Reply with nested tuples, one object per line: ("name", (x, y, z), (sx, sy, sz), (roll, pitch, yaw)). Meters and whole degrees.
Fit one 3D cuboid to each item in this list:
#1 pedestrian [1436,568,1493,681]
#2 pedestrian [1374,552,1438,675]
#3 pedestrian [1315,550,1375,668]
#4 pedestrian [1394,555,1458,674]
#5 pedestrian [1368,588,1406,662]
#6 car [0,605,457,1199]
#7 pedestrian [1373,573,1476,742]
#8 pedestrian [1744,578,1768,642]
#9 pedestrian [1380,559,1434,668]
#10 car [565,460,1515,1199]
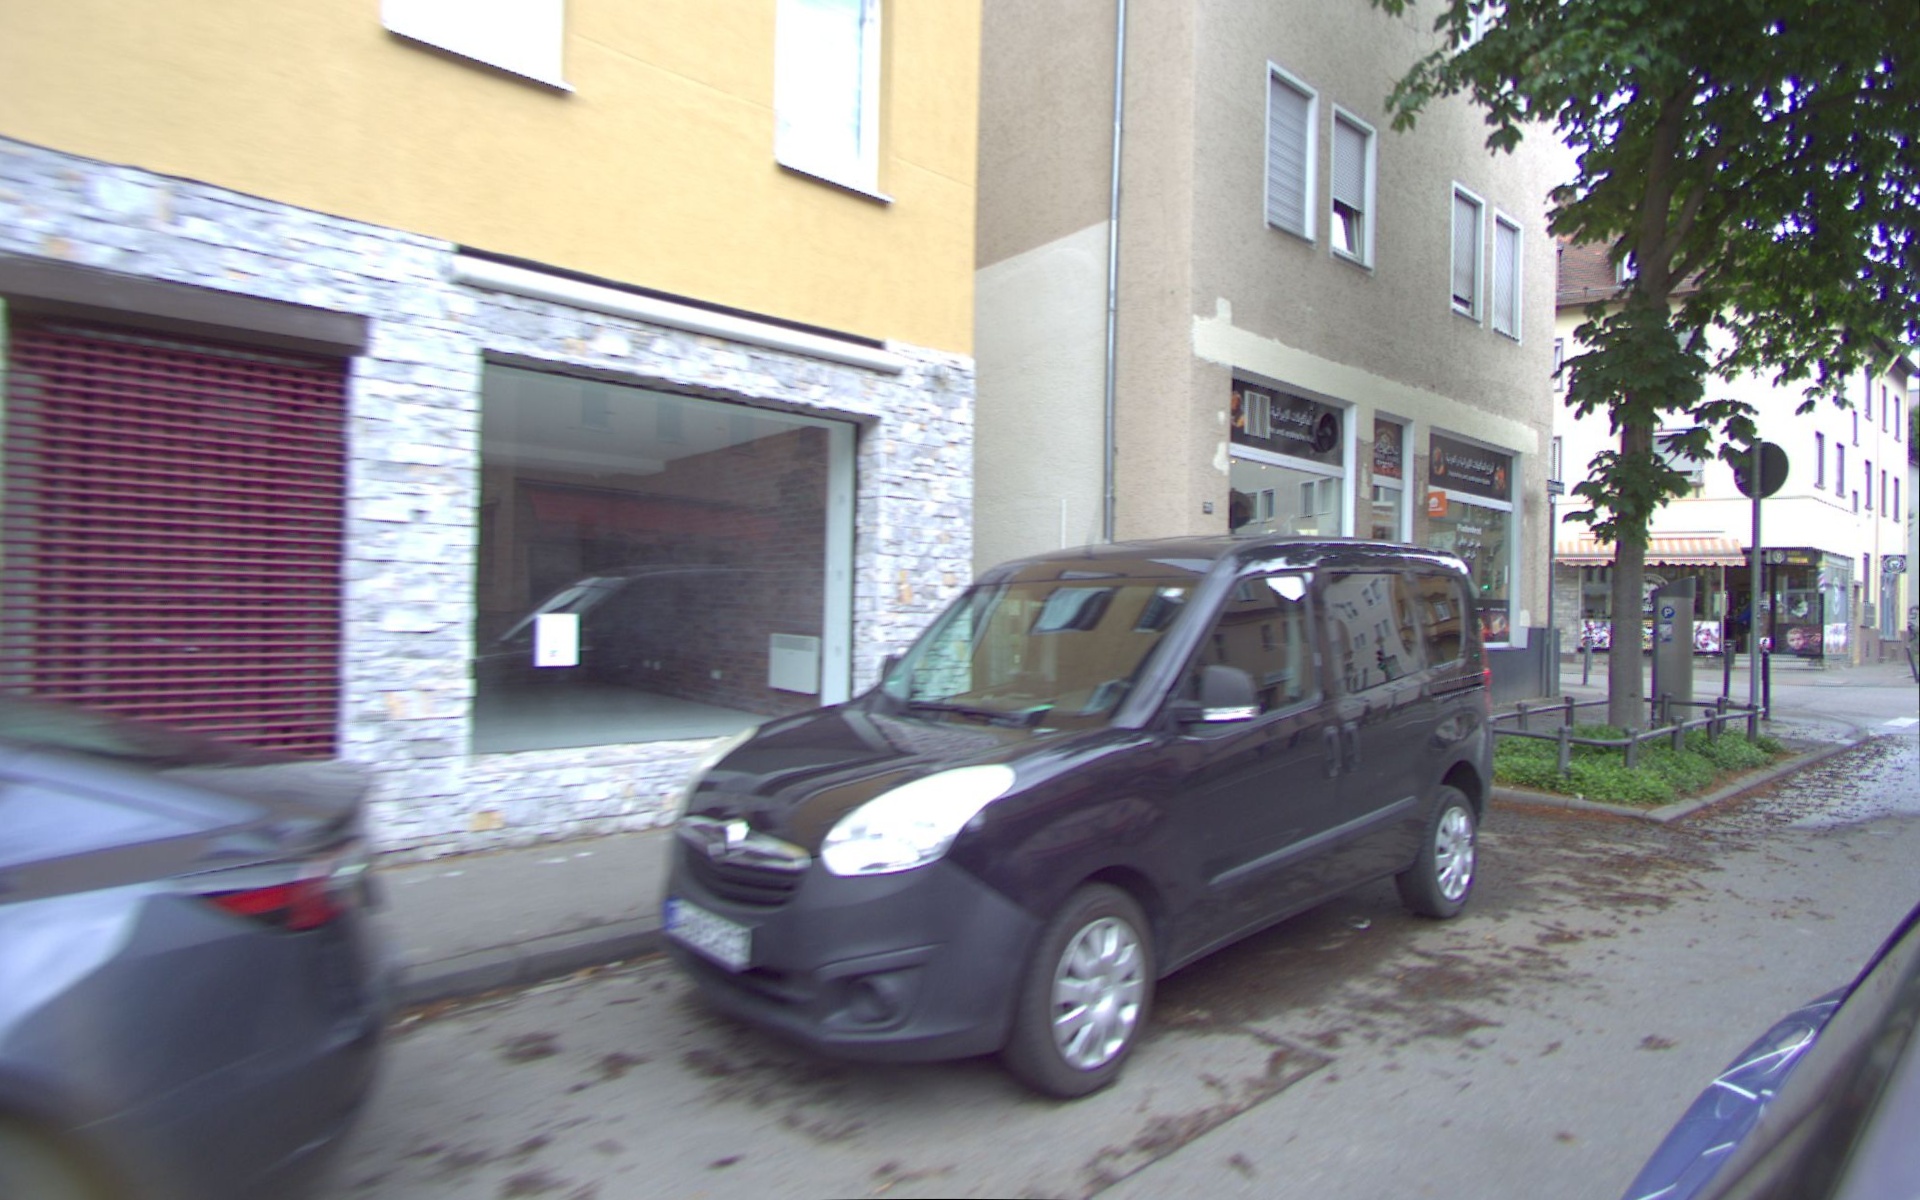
("pedestrian", (7.248, 0.347, 14.543), (0.511, 1.580, 0.568), (0, -1, -40))
("pedestrian", (5.898, 0.178, 13.387), (0.546, 1.580, 0.568), (0, -1, -40))
("pedestrian", (5.333, 0.123, 14.009), (0.551, 1.580, 0.568), (0, -1, -40))
("pedestrian", (6.359, 0.192, 13.811), (0.643, 1.580, 0.568), (0, -1, -40))
("pedestrian", (9.958, 0.577, 23.636), (0.666, 1.685, 0.797), (1, 0, 14))
("car", (-3.290, 0.746, 1.327), (4.431, 1.423, 1.754), (0, 1, -40))
("pedestrian", (4.877, 0.574, 10.612), (0.965, 1.673, 0.615), (1, 0, -42))
("pedestrian", (22.732, 0.283, 28.903), (0.391, 1.797, 0.385), (-1, -1, 17))
("pedestrian", (6.675, 0.196, 15.116), (0.511, 1.580, 0.568), (0, -1, -40))
("car", (0.731, 0.564, 4.548), (4.328, 1.803, 1.821), (0, 0, -43))
